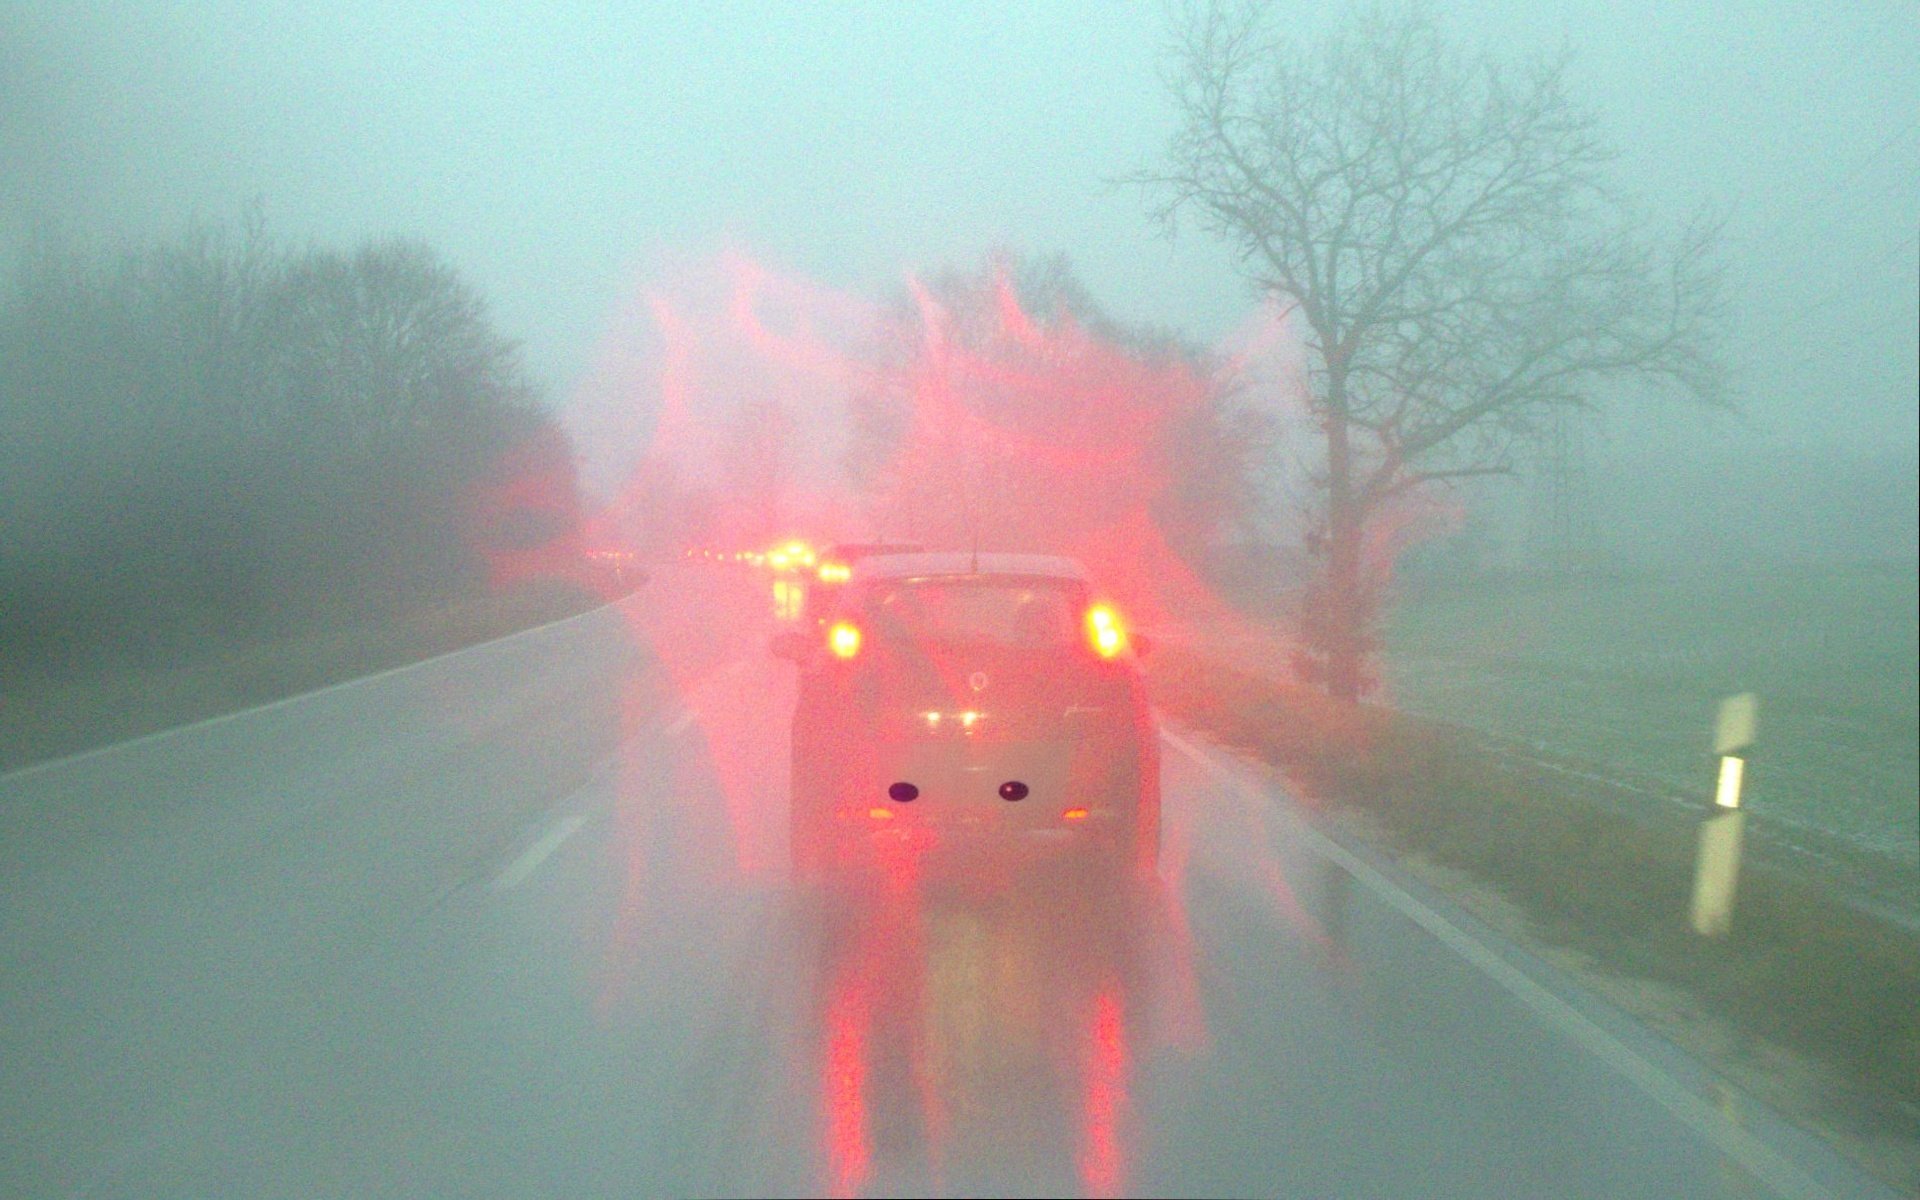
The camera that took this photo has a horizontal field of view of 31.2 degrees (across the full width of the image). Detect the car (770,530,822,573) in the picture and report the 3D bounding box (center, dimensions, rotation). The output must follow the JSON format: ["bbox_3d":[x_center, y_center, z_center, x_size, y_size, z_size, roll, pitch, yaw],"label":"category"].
[{"bbox_3d":[-6.607,-1.982,138.940,1.863,1.694,4.468,0,1,0],"label":"car"}]

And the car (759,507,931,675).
[{"bbox_3d":[-1.397,-0.145,43.292,1.852,2.007,4.000,1,1,2],"label":"car"}]

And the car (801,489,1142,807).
[{"bbox_3d":[0.120,0.185,16.819,1.500,1.393,3.199,1,1,3],"label":"car"}]
